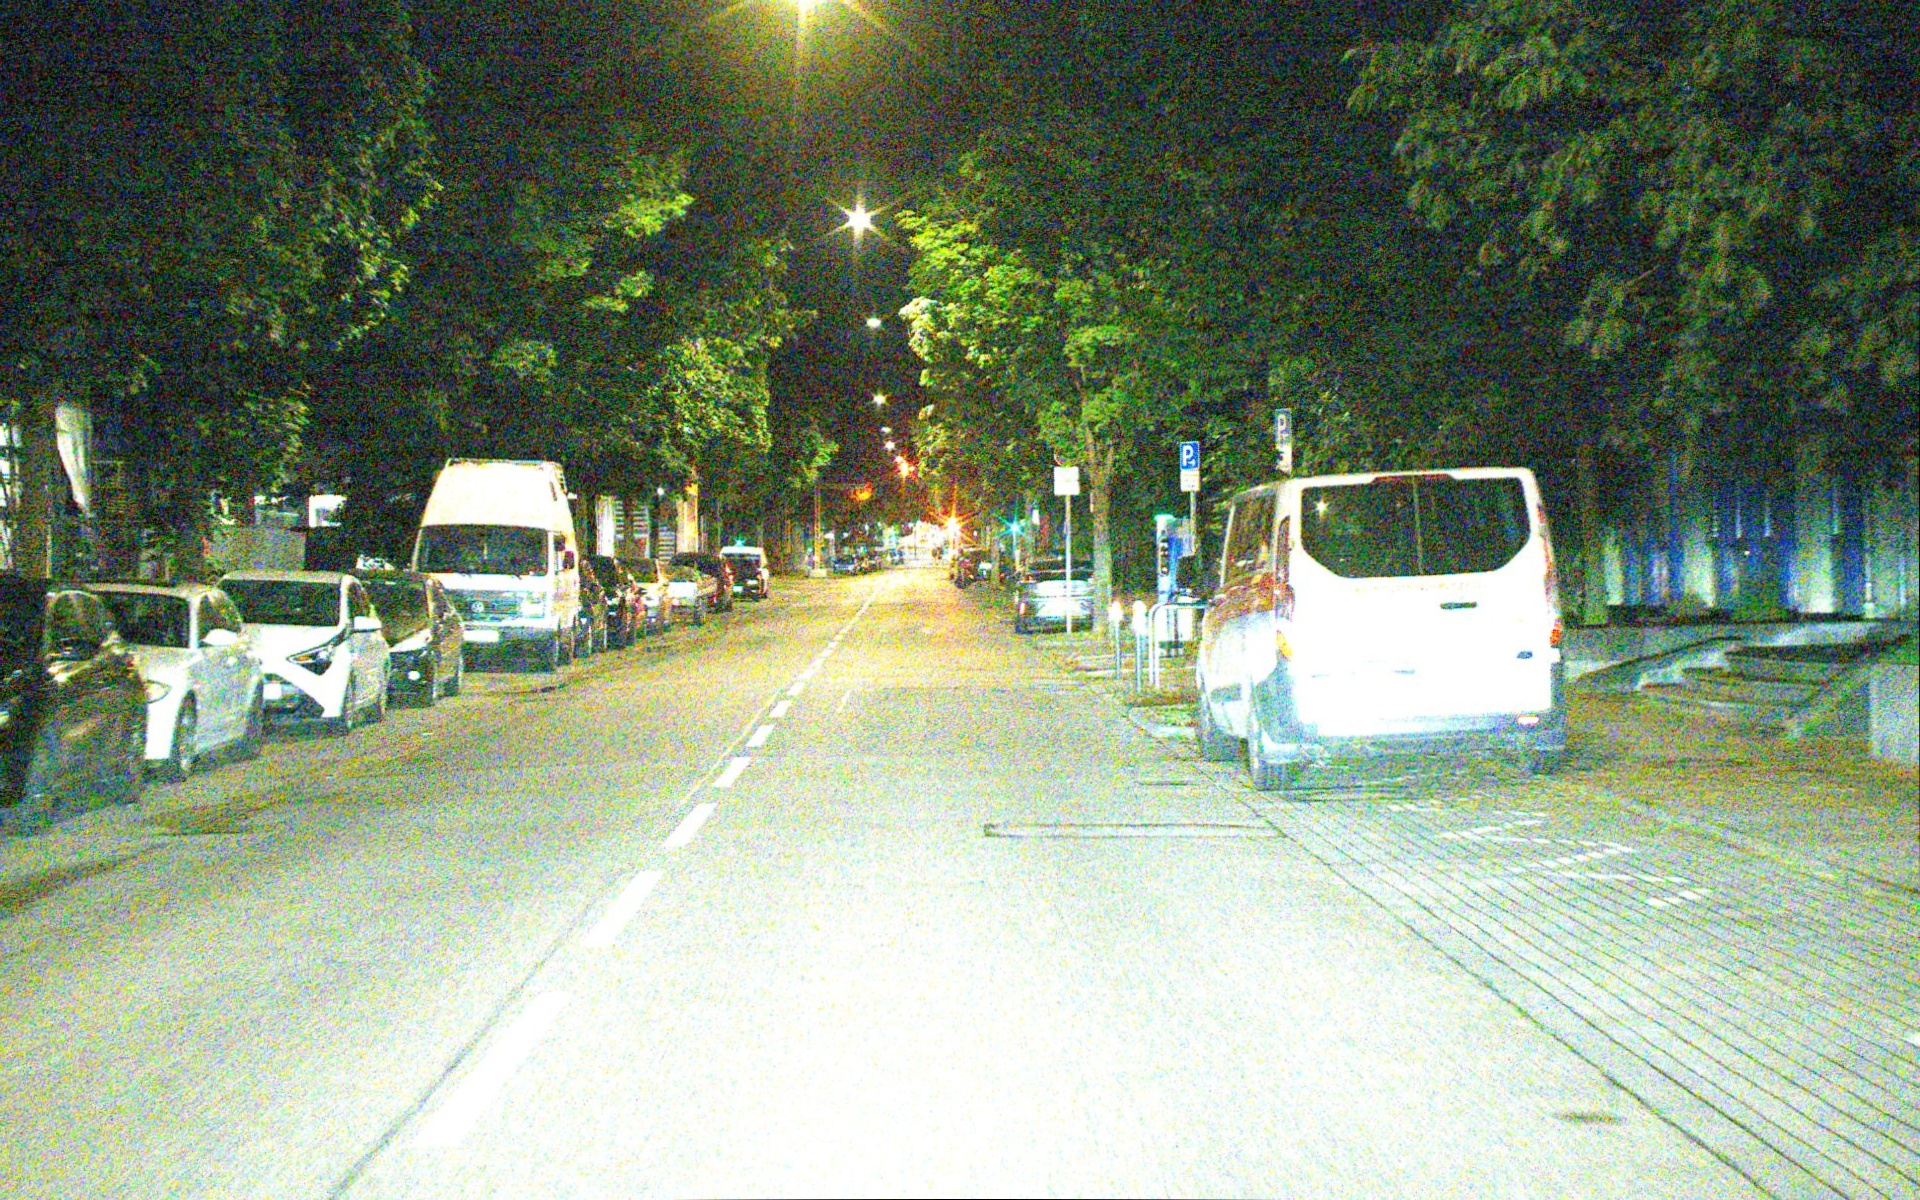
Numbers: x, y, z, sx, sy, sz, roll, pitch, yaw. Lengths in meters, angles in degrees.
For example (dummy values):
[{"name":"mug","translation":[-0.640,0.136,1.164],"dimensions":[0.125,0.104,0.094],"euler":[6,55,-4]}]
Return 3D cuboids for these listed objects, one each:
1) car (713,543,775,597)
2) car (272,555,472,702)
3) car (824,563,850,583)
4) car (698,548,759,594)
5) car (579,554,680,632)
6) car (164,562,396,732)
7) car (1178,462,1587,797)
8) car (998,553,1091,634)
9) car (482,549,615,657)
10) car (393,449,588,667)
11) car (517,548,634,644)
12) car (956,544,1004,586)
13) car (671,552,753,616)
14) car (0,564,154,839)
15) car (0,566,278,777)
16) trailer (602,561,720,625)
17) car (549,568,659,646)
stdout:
[{"name":"car","translation":[-7.679,-1.091,122.733],"dimensions":[1.822,1.805,4.210],"euler":[3,1,1]},{"name":"car","translation":[-6.476,0.274,38.185],"dimensions":[1.645,1.499,3.861],"euler":[2,1,-2]},{"name":"car","translation":[-8.678,-1.908,243.127],"dimensions":[1.740,1.411,3.752],"euler":[0,0,0]},{"name":"car","translation":[-7.750,-0.980,115.318],"dimensions":[1.700,1.428,3.828],"euler":[3,1,0]},{"name":"car","translation":[-6.749,-0.157,70.502],"dimensions":[1.716,1.497,4.206],"euler":[2,0,-1]},{"name":"car","translation":[-6.277,0.397,32.016],"dimensions":[1.547,1.450,3.368],"euler":[2,1,-2]},{"name":"car","translation":[2.702,0.153,23.087],"dimensions":[1.950,1.957,4.604],"euler":[-2,1,-2]},{"name":"car","translation":[1.607,-0.133,65.337],"dimensions":[1.668,1.424,4.148],"euler":[-2,0,2]},{"name":"car","translation":[-6.489,0.021,54.540],"dimensions":[1.742,1.601,4.116],"euler":[1,1,-2]},{"name":"car","translation":[-6.604,-0.596,48.850],"dimensions":[2.179,2.899,4.910],"euler":[1,0,-2]},{"name":"car","translation":[-6.685,-0.086,60.127],"dimensions":[1.742,1.601,4.299],"euler":[0,0,-3]},{"name":"car","translation":[0.777,-1.401,135.926],"dimensions":[1.853,1.648,4.209],"euler":[0,1,0]},{"name":"car","translation":[-6.737,-0.448,93.534],"dimensions":[1.822,1.593,4.073],"euler":[3,1,1]},{"name":"car","translation":[-6.184,0.532,21.040],"dimensions":[1.642,1.499,3.904],"euler":[2,1,-2]},{"name":"car","translation":[-6.253,0.484,26.068],"dimensions":[1.444,1.425,3.904],"euler":[2,0,-2]},{"name":"trailer","translation":[-6.773,-0.167,78.414],"dimensions":[2.110,1.330,5.435],"euler":[2,0,1]},{"name":"car","translation":[-6.724,0.108,65.293],"dimensions":[1.704,1.407,4.634],"euler":[0,1,-1]}]
